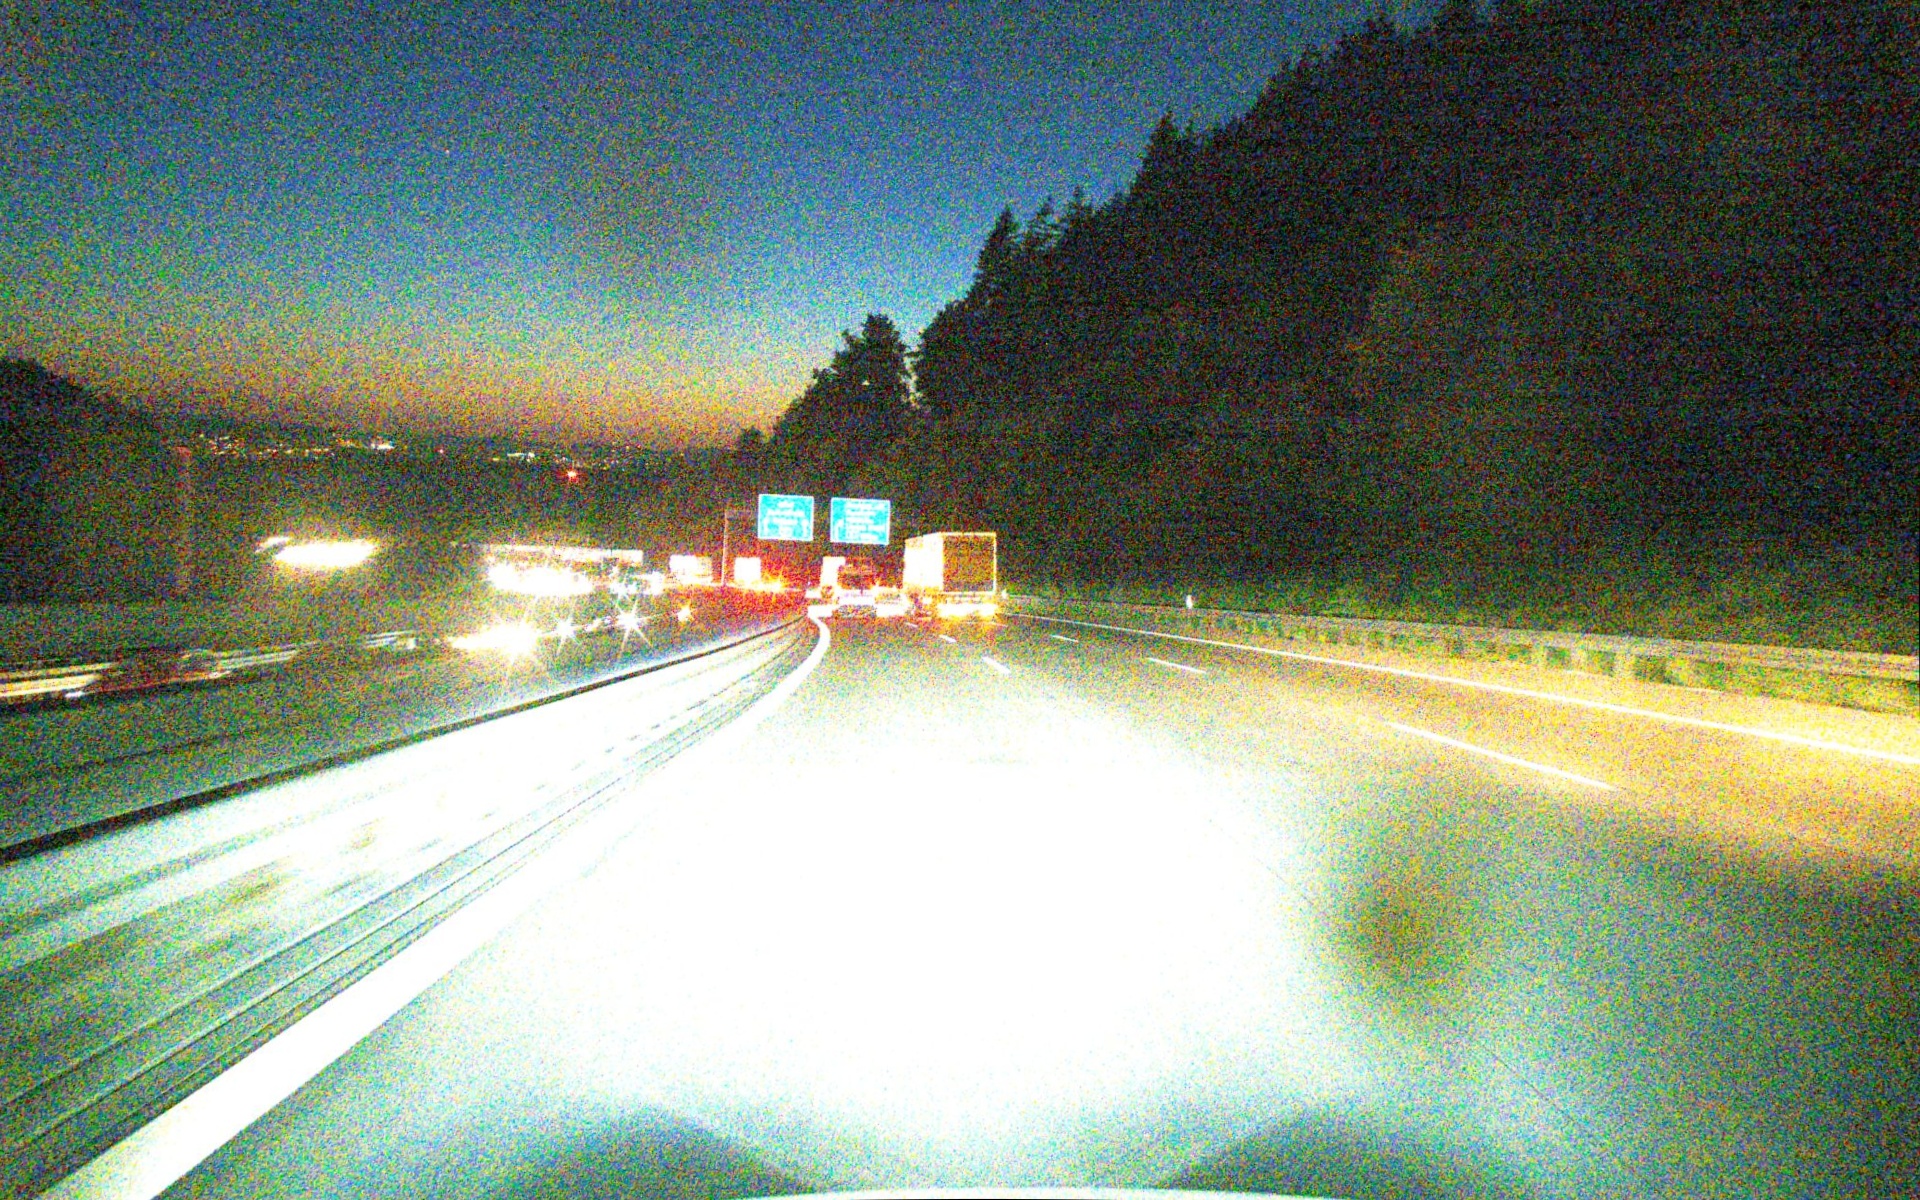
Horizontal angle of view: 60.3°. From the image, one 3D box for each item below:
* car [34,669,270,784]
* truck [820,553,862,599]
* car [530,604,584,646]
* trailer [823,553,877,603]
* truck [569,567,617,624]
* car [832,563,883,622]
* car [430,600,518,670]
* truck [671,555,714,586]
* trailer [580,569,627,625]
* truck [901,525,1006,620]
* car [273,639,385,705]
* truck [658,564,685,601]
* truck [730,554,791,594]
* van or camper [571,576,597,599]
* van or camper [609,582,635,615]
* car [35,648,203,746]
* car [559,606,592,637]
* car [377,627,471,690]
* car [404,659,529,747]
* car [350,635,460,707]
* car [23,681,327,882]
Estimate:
[{"bbox_3d":[-12.963,1.977,26.899,1.866,1.479,4.707,0,0,-5],"label":"car"},{"bbox_3d":[-11.408,-2.369,158.112,2.813,4.147,7.487,-1,3,-13],"label":"truck"},{"bbox_3d":[-21.674,1.316,89.078,2.098,2.090,5.106,-1,1,-6],"label":"car"},{"bbox_3d":[-10.280,-2.148,153.168,2.805,4.137,13.164,-1,3,-13],"label":"trailer"},{"bbox_3d":[-28.811,-0.397,130.194,3.357,4.296,6.266,-2,1,-11],"label":"truck"},{"bbox_3d":[-5.006,-0.352,80.084,2.291,2.686,5.243,2,0,-4],"label":"car"},{"bbox_3d":[-18.237,1.258,62.290,1.987,2.484,5.691,0,0,-4],"label":"car"},{"bbox_3d":[-41.256,-4.593,254.693,3.298,4.553,13.817,2,1,-22],"label":"truck"},{"bbox_3d":[-29.267,-0.324,136.167,3.374,4.314,12.799,-2,1,-11],"label":"trailer"},{"bbox_3d":[-0.633,-1.293,82.822,3.415,4.207,18.685,0,0,-6],"label":"truck"},{"bbox_3d":[-16.878,1.898,44.407,1.788,1.483,3.995,-2,1,-6],"label":"car"},{"bbox_3d":[-29.146,-1.732,166.888,2.606,3.654,8.529,0,0,-10],"label":"truck"},{"bbox_3d":[-26.159,-3.544,215.582,3.854,4.707,20.915,1,2,-18],"label":"truck"},{"bbox_3d":[-47.657,-1.607,209.606,2.409,2.809,6.452,-2,1,-19],"label":"van or camper"},{"bbox_3d":[-32.456,-0.148,158.788,1.805,3.023,6.370,-2,1,-17],"label":"van or camper"},{"bbox_3d":[-17.290,1.949,34.209,1.718,1.746,3.996,0,0,-5],"label":"car"},{"bbox_3d":[-20.296,1.114,87.188,1.574,1.467,3.985,-2,1,-14],"label":"car"},{"bbox_3d":[-16.725,1.793,51.790,1.913,1.746,3.996,-1,1,-5],"label":"car"},{"bbox_3d":[-10.253,2.100,34.656,1.782,1.494,4.273,-1,1,-7],"label":"car"},{"bbox_3d":[-13.555,1.701,40.630,1.789,1.483,3.993,-2,1,-8],"label":"car"},{"bbox_3d":[-9.307,2.072,20.004,1.697,1.890,4.000,-2,0,0],"label":"car"}]
